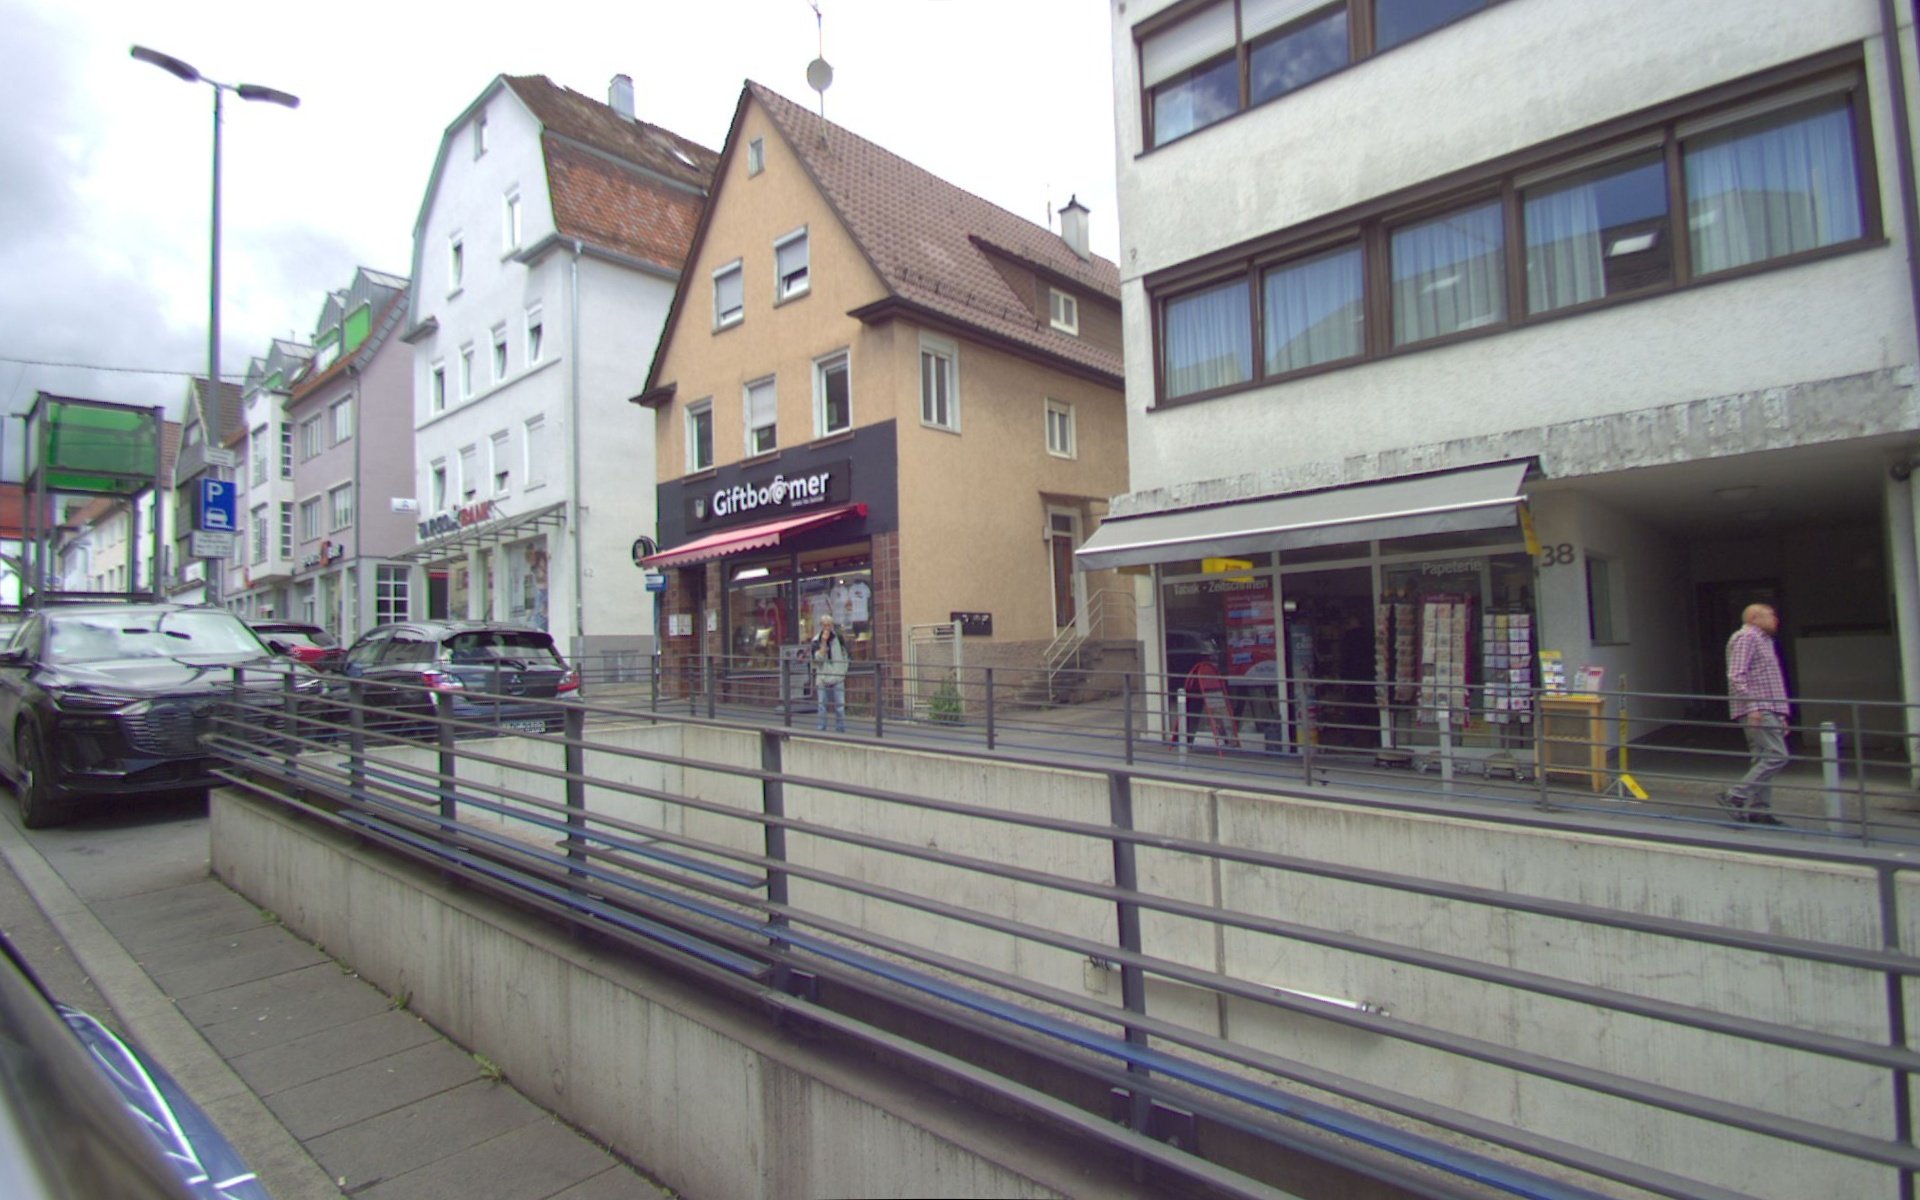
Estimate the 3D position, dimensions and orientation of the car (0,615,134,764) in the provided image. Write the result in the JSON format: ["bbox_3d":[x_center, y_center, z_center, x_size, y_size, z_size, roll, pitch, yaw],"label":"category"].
[{"bbox_3d":[-11.666,1.028,12.632,3.531,1.622,1.556,-2,-1,41],"label":"car"}]

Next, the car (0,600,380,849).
[{"bbox_3d":[-6.888,0.835,8.612,4.427,1.578,1.974,-2,-1,40],"label":"car"}]

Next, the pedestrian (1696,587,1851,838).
[{"bbox_3d":[6.120,0.803,7.617,0.825,1.753,0.686,-2,-3,43],"label":"pedestrian"}]

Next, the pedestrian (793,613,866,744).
[{"bbox_3d":[-1.786,1.055,13.920,0.664,1.727,0.738,-2,-3,42],"label":"pedestrian"}]

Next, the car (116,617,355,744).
[{"bbox_3d":[-10.990,1.092,15.235,4.492,1.601,1.973,-2,-1,41],"label":"car"}]

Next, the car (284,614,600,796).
[{"bbox_3d":[-5.600,0.961,10.738,3.897,1.559,1.681,-2,-1,41],"label":"car"}]
